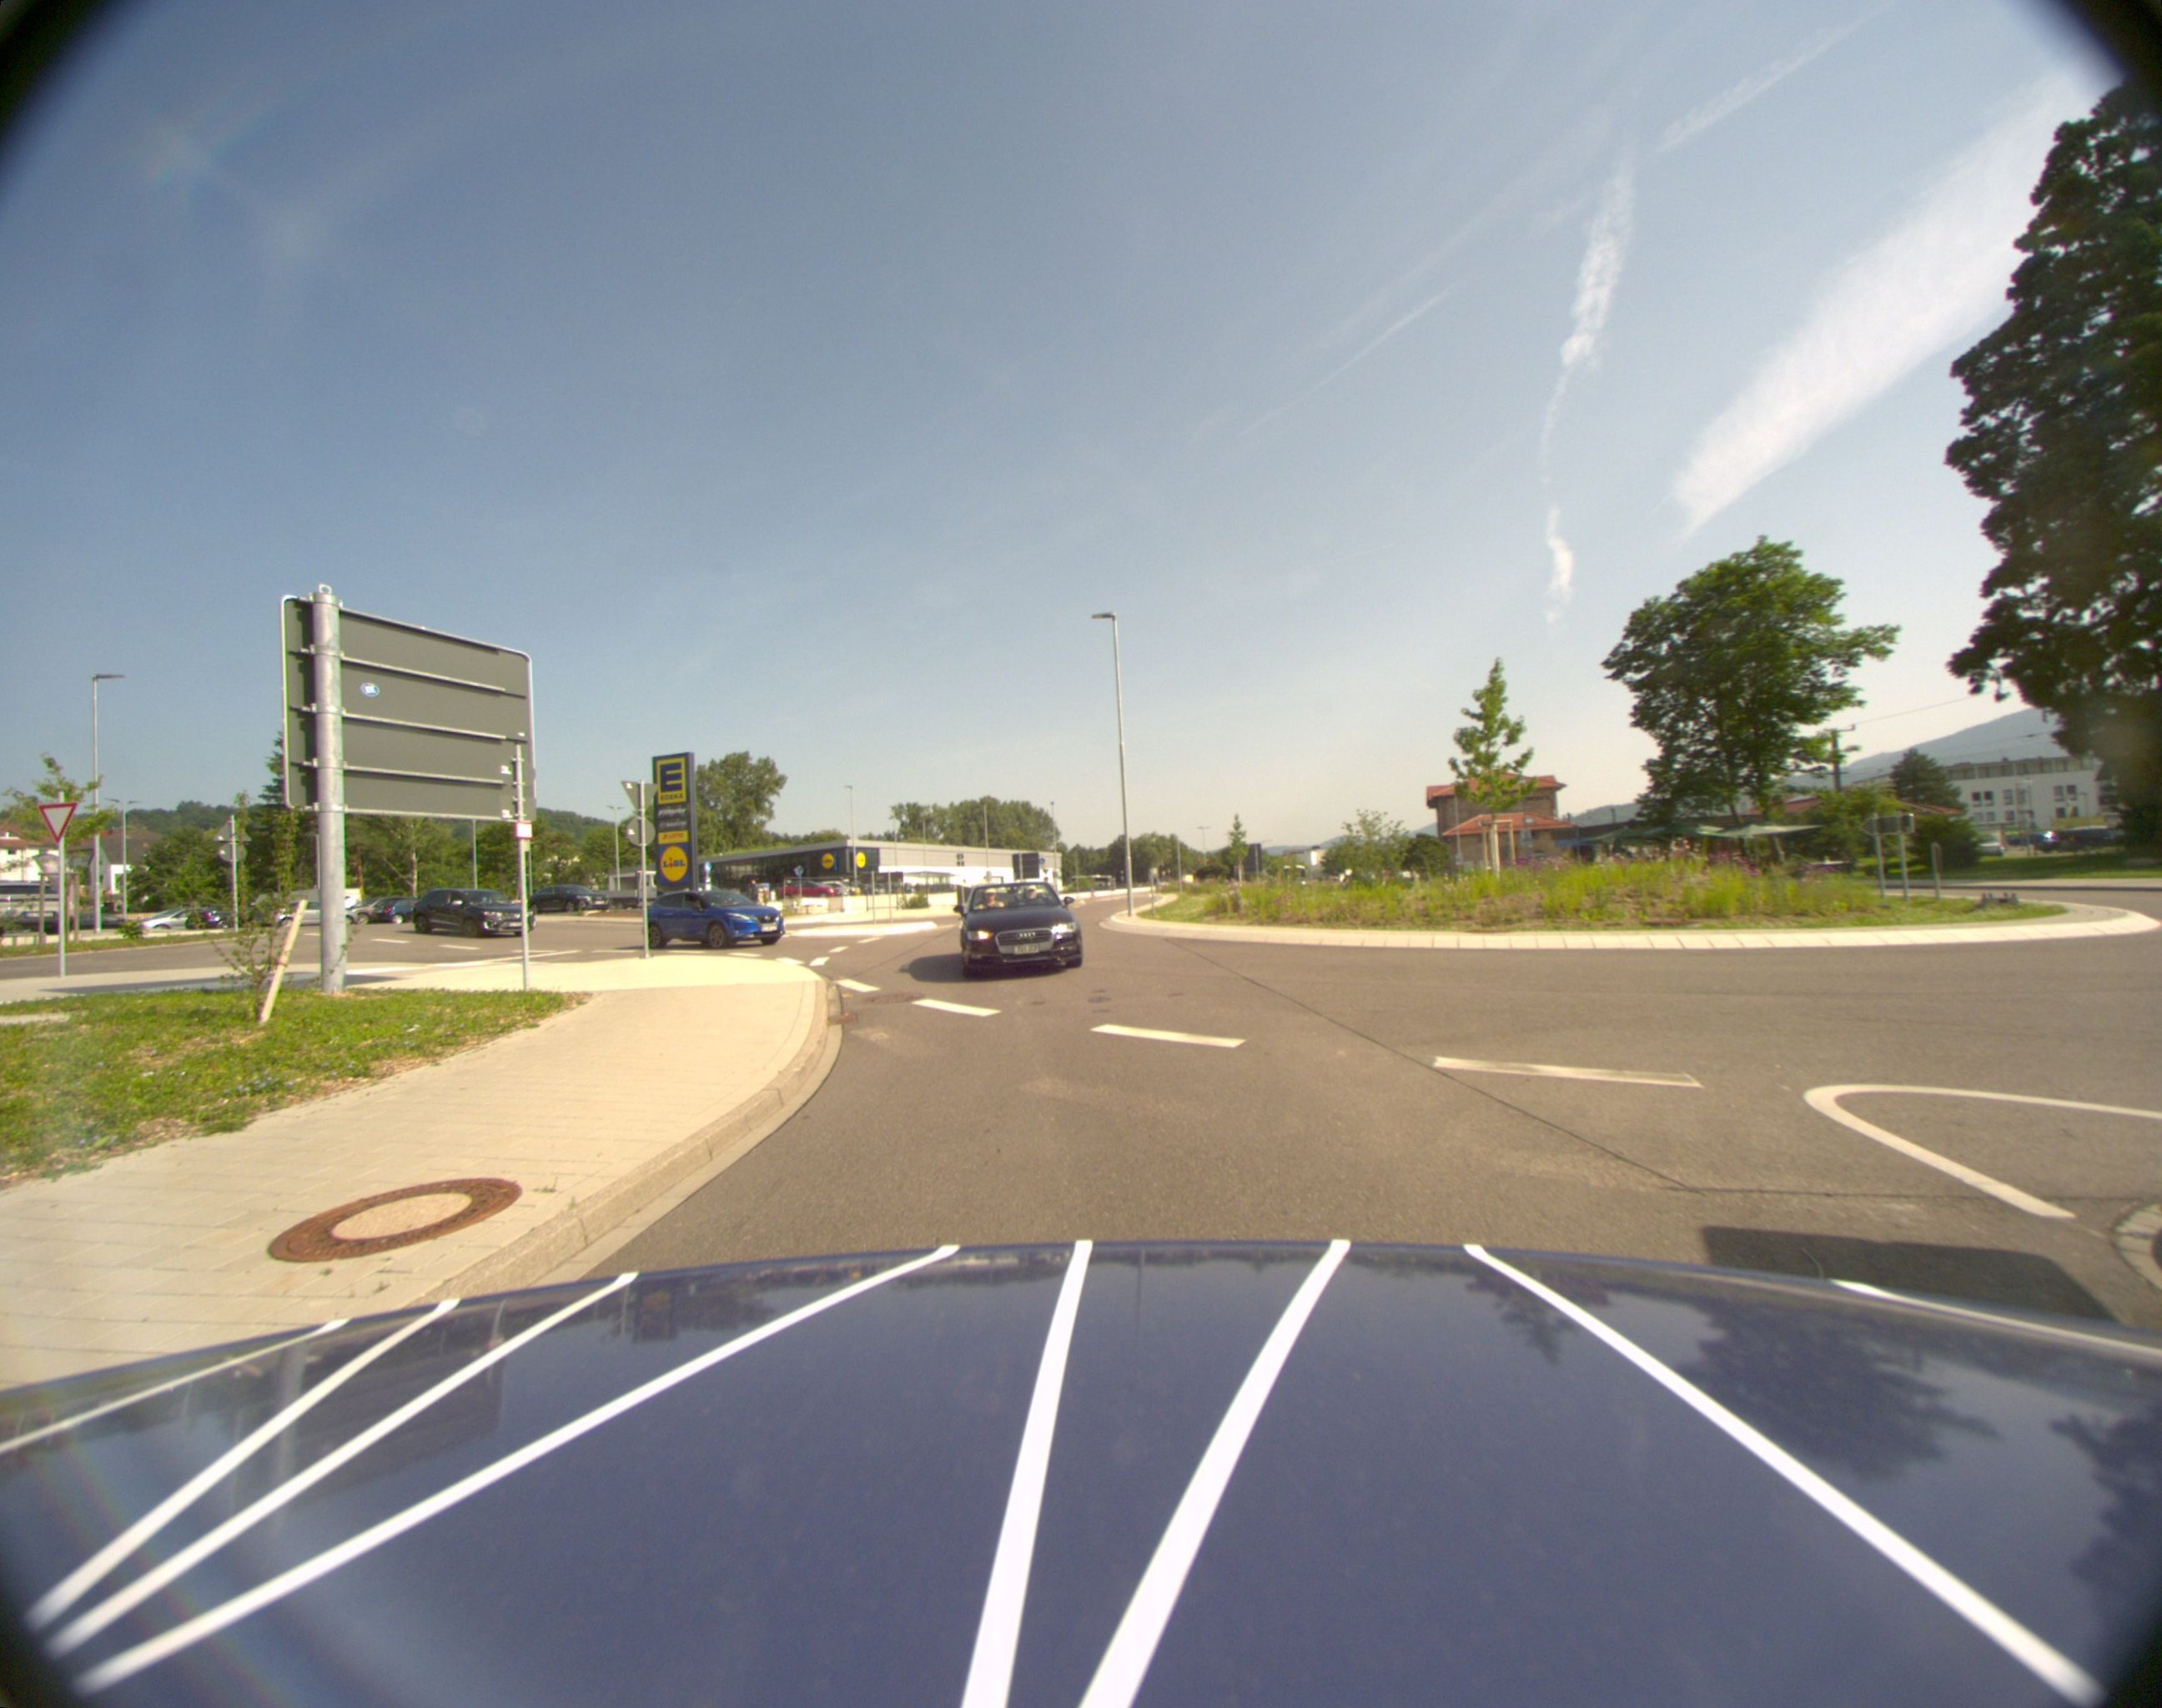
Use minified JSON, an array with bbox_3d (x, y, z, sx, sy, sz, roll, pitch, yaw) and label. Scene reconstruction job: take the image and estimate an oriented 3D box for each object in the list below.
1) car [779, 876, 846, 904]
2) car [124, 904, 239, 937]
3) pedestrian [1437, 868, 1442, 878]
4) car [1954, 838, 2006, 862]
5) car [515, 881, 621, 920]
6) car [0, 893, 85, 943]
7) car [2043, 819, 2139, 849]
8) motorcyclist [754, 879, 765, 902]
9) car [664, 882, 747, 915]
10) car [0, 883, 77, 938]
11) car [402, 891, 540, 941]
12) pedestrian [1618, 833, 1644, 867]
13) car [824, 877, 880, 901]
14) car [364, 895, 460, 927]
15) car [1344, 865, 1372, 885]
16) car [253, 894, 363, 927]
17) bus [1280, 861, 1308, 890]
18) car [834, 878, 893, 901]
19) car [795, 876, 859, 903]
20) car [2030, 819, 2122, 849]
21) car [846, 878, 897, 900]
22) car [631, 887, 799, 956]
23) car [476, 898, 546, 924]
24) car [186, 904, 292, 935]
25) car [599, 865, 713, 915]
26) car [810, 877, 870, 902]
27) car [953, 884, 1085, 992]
[{"bbox_3d":[-19.021,2.534,53.885,4.019,1.564,1.780,-5,-2,-1],"label":"car"},{"bbox_3d":[-48.365,3.546,40.934,1.523,1.436,3.637,-6,-3,15],"label":"car"},{"bbox_3d":[41.708,2.234,88.300,0.371,1.155,0.507,-6,-2,22],"label":"pedestrian"},{"bbox_3d":[67.271,-0.306,56.897,1.603,1.485,3.658,-7,-2,36],"label":"car"},{"bbox_3d":[-26.367,2.411,39.071,4.851,1.520,1.925,-6,-3,19],"label":"car"},{"bbox_3d":[-61.002,3.683,43.300,1.997,2.600,4.653,-6,-3,13],"label":"car"},{"bbox_3d":[76.224,-1.488,57.450,3.991,1.838,1.788,-8,-3,43],"label":"car"},{"bbox_3d":[-21.623,2.455,51.089,0.515,1.533,0.581,-4,-2,-24],"label":"motorcyclist"},{"bbox_3d":[-23.270,2.778,47.084,4.469,1.592,1.836,-6,-3,17],"label":"car"},{"bbox_3d":[-32.795,1.685,22.485,4.813,1.545,1.861,-2,-4,13],"label":"car"},{"bbox_3d":[-20.817,2.077,25.943,4.220,1.384,1.646,1,0,19],"label":"car"},{"bbox_3d":[33.577,-0.232,46.394,0.859,2.001,0.709,-5,-2,-12],"label":"pedestrian"},{"bbox_3d":[-18.645,2.896,62.054,3.998,1.564,1.704,-5,-2,-3],"label":"car"},{"bbox_3d":[-38.683,3.271,44.061,1.760,1.564,3.792,-6,-3,14],"label":"car"},{"bbox_3d":[32.305,2.401,88.588,1.974,1.952,5.167,-7,-3,30],"label":"car"},{"bbox_3d":[-39.909,2.897,39.342,1.523,1.436,3.637,-6,-3,15],"label":"car"},{"bbox_3d":[27.556,2.782,98.724,2.584,3.307,10.602,-6,-3,12],"label":"bus"},{"bbox_3d":[-18.481,3.008,64.673,4.414,1.564,1.704,-5,-2,-3],"label":"car"},{"bbox_3d":[-18.780,2.630,56.321,4.019,1.564,1.780,-5,-2,-1],"label":"car"},{"bbox_3d":[77.679,-1.531,59.391,3.991,1.838,1.788,-8,-3,43],"label":"car"},{"bbox_3d":[-18.543,3.145,67.363,3.998,1.564,1.704,-5,-2,-3],"label":"car"},{"bbox_3d":[-10.192,1.821,21.143,4.342,1.653,1.890,-2,0,26],"label":"car"},{"bbox_3d":[-42.273,4.195,56.469,1.760,1.564,3.792,-6,-3,14],"label":"car"},{"bbox_3d":[-43.156,3.329,39.059,1.524,1.365,3.369,-4,-3,6],"label":"car"},{"bbox_3d":[-24.911,2.108,44.520,6.081,2.368,2.064,-6,-3,17],"label":"car"},{"bbox_3d":[-18.753,2.769,59.228,3.998,1.564,1.704,-5,-2,-3],"label":"car"},{"bbox_3d":[-1.183,1.232,12.556,1.722,1.314,4.222,-5,-1,-10],"label":"car"}]
